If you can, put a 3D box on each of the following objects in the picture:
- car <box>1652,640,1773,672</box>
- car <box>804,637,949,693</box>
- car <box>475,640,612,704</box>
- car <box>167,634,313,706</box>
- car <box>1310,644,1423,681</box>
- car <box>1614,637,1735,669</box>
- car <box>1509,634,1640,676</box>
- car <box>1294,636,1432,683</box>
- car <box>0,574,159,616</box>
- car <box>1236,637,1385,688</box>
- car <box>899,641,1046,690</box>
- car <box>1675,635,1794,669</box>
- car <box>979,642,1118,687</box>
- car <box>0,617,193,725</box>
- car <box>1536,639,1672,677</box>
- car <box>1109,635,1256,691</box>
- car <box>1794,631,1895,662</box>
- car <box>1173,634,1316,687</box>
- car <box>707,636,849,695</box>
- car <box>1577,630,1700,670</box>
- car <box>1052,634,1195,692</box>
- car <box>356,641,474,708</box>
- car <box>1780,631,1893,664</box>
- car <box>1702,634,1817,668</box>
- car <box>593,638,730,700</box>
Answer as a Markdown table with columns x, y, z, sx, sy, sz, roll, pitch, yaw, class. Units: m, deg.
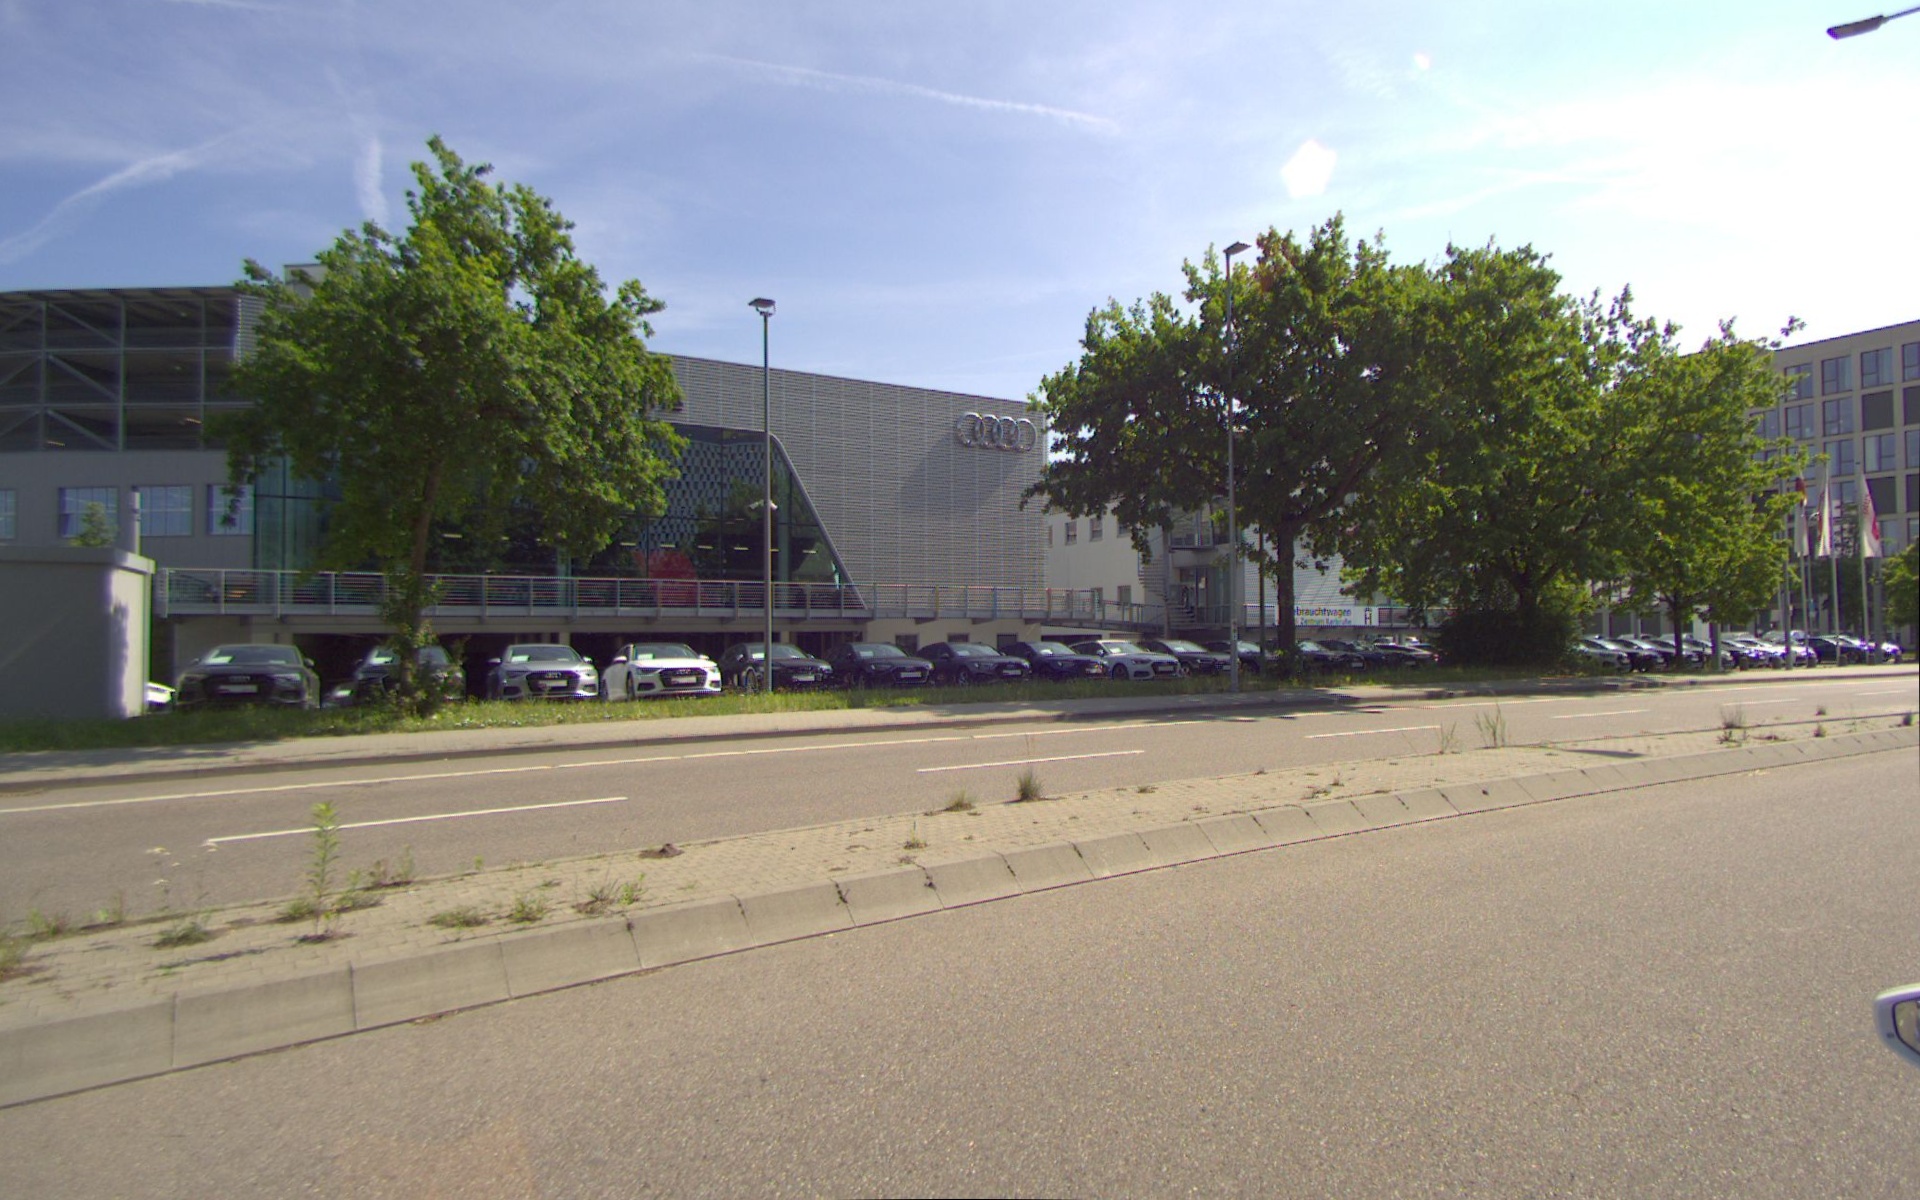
| x | y | z | sx | sy | sz | roll | pitch | yaw | class |
| --- | --- | --- | --- | --- | --- | --- | --- | --- | --- |
| 33.359 | 2.509 | 44.638 | 1.886 | 1.181 | 3.864 | 0 | -5 | -26 | car |
| -2.172 | 1.650 | 24.969 | 1.933 | 1.205 | 4.154 | 1 | -6 | -31 | car |
| -8.899 | 1.556 | 21.252 | 2.064 | 1.171 | 4.154 | 1 | -6 | -31 | car |
| -13.186 | 1.339 | 18.628 | 1.876 | 1.171 | 3.969 | 1 | -6 | -31 | car |
| 16.039 | 2.490 | 39.703 | 3.930 | 1.272 | 1.588 | -5 | -5 | 29 | car |
| 30.779 | 2.288 | 43.385 | 1.771 | 1.167 | 3.864 | 0 | -5 | -26 | car |
| 23.740 | 2.151 | 38.939 | 1.886 | 1.437 | 3.864 | 0 | -5 | -26 | car |
| 13.612 | 2.053 | 34.123 | 1.976 | 1.376 | 3.973 | 1 | -6 | -29 | car |
| -32.957 | -0.152 | 37.528 | 1.885 | 1.483 | 4.668 | 0 | -1 | 9 | car |
| 11.378 | 2.078 | 32.928 | 2.027 | 1.460 | 4.287 | 1 | -6 | -30 | car |
| 0.224 | 1.739 | 26.259 | 1.933 | 1.091 | 4.154 | 1 | -6 | -31 | car |
| 35.433 | 2.395 | 46.053 | 1.824 | 1.350 | 3.864 | 0 | -5 | -26 | car |
| 2.313 | 1.774 | 27.310 | 1.678 | 1.047 | 4.089 | 1 | -6 | -31 | car |
| -16.962 | 1.292 | 18.735 | 3.953 | 1.901 | 1.984 | 1 | -2 | -31 | car |
| 25.884 | 2.364 | 40.518 | 2.010 | 1.348 | 4.156 | 0 | -5 | -26 | car |
| 6.597 | 1.930 | 30.229 | 1.976 | 1.460 | 4.233 | 1 | -6 | -29 | car |
| 45.966 | 2.438 | 52.272 | 1.620 | 1.375 | 3.581 | 0 | -5 | -29 | car |
| 8.884 | 1.947 | 31.691 | 1.976 | 1.460 | 4.124 | 1 | -6 | -29 | car |
| -4.398 | 1.591 | 23.754 | 1.933 | 1.205 | 4.154 | 1 | -6 | -31 | car |
| 28.164 | 2.097 | 41.819 | 1.638 | 1.437 | 3.864 | 0 | -5 | -26 | car |
| 4.563 | 1.826 | 28.672 | 1.976 | 1.460 | 3.973 | 1 | -6 | -29 | car |
| -10.878 | 1.515 | 19.926 | 1.876 | 1.171 | 3.969 | 1 | -6 | -31 | car |
| 44.519 | 2.436 | 51.118 | 1.844 | 1.483 | 3.862 | 0 | -5 | -28 | car |
| 37.715 | 2.430 | 47.483 | 1.726 | 1.382 | 3.864 | 0 | -5 | -26 | car |
| -6.751 | 1.579 | 22.427 | 1.933 | 1.205 | 4.154 | 1 | -6 | -31 | car |
